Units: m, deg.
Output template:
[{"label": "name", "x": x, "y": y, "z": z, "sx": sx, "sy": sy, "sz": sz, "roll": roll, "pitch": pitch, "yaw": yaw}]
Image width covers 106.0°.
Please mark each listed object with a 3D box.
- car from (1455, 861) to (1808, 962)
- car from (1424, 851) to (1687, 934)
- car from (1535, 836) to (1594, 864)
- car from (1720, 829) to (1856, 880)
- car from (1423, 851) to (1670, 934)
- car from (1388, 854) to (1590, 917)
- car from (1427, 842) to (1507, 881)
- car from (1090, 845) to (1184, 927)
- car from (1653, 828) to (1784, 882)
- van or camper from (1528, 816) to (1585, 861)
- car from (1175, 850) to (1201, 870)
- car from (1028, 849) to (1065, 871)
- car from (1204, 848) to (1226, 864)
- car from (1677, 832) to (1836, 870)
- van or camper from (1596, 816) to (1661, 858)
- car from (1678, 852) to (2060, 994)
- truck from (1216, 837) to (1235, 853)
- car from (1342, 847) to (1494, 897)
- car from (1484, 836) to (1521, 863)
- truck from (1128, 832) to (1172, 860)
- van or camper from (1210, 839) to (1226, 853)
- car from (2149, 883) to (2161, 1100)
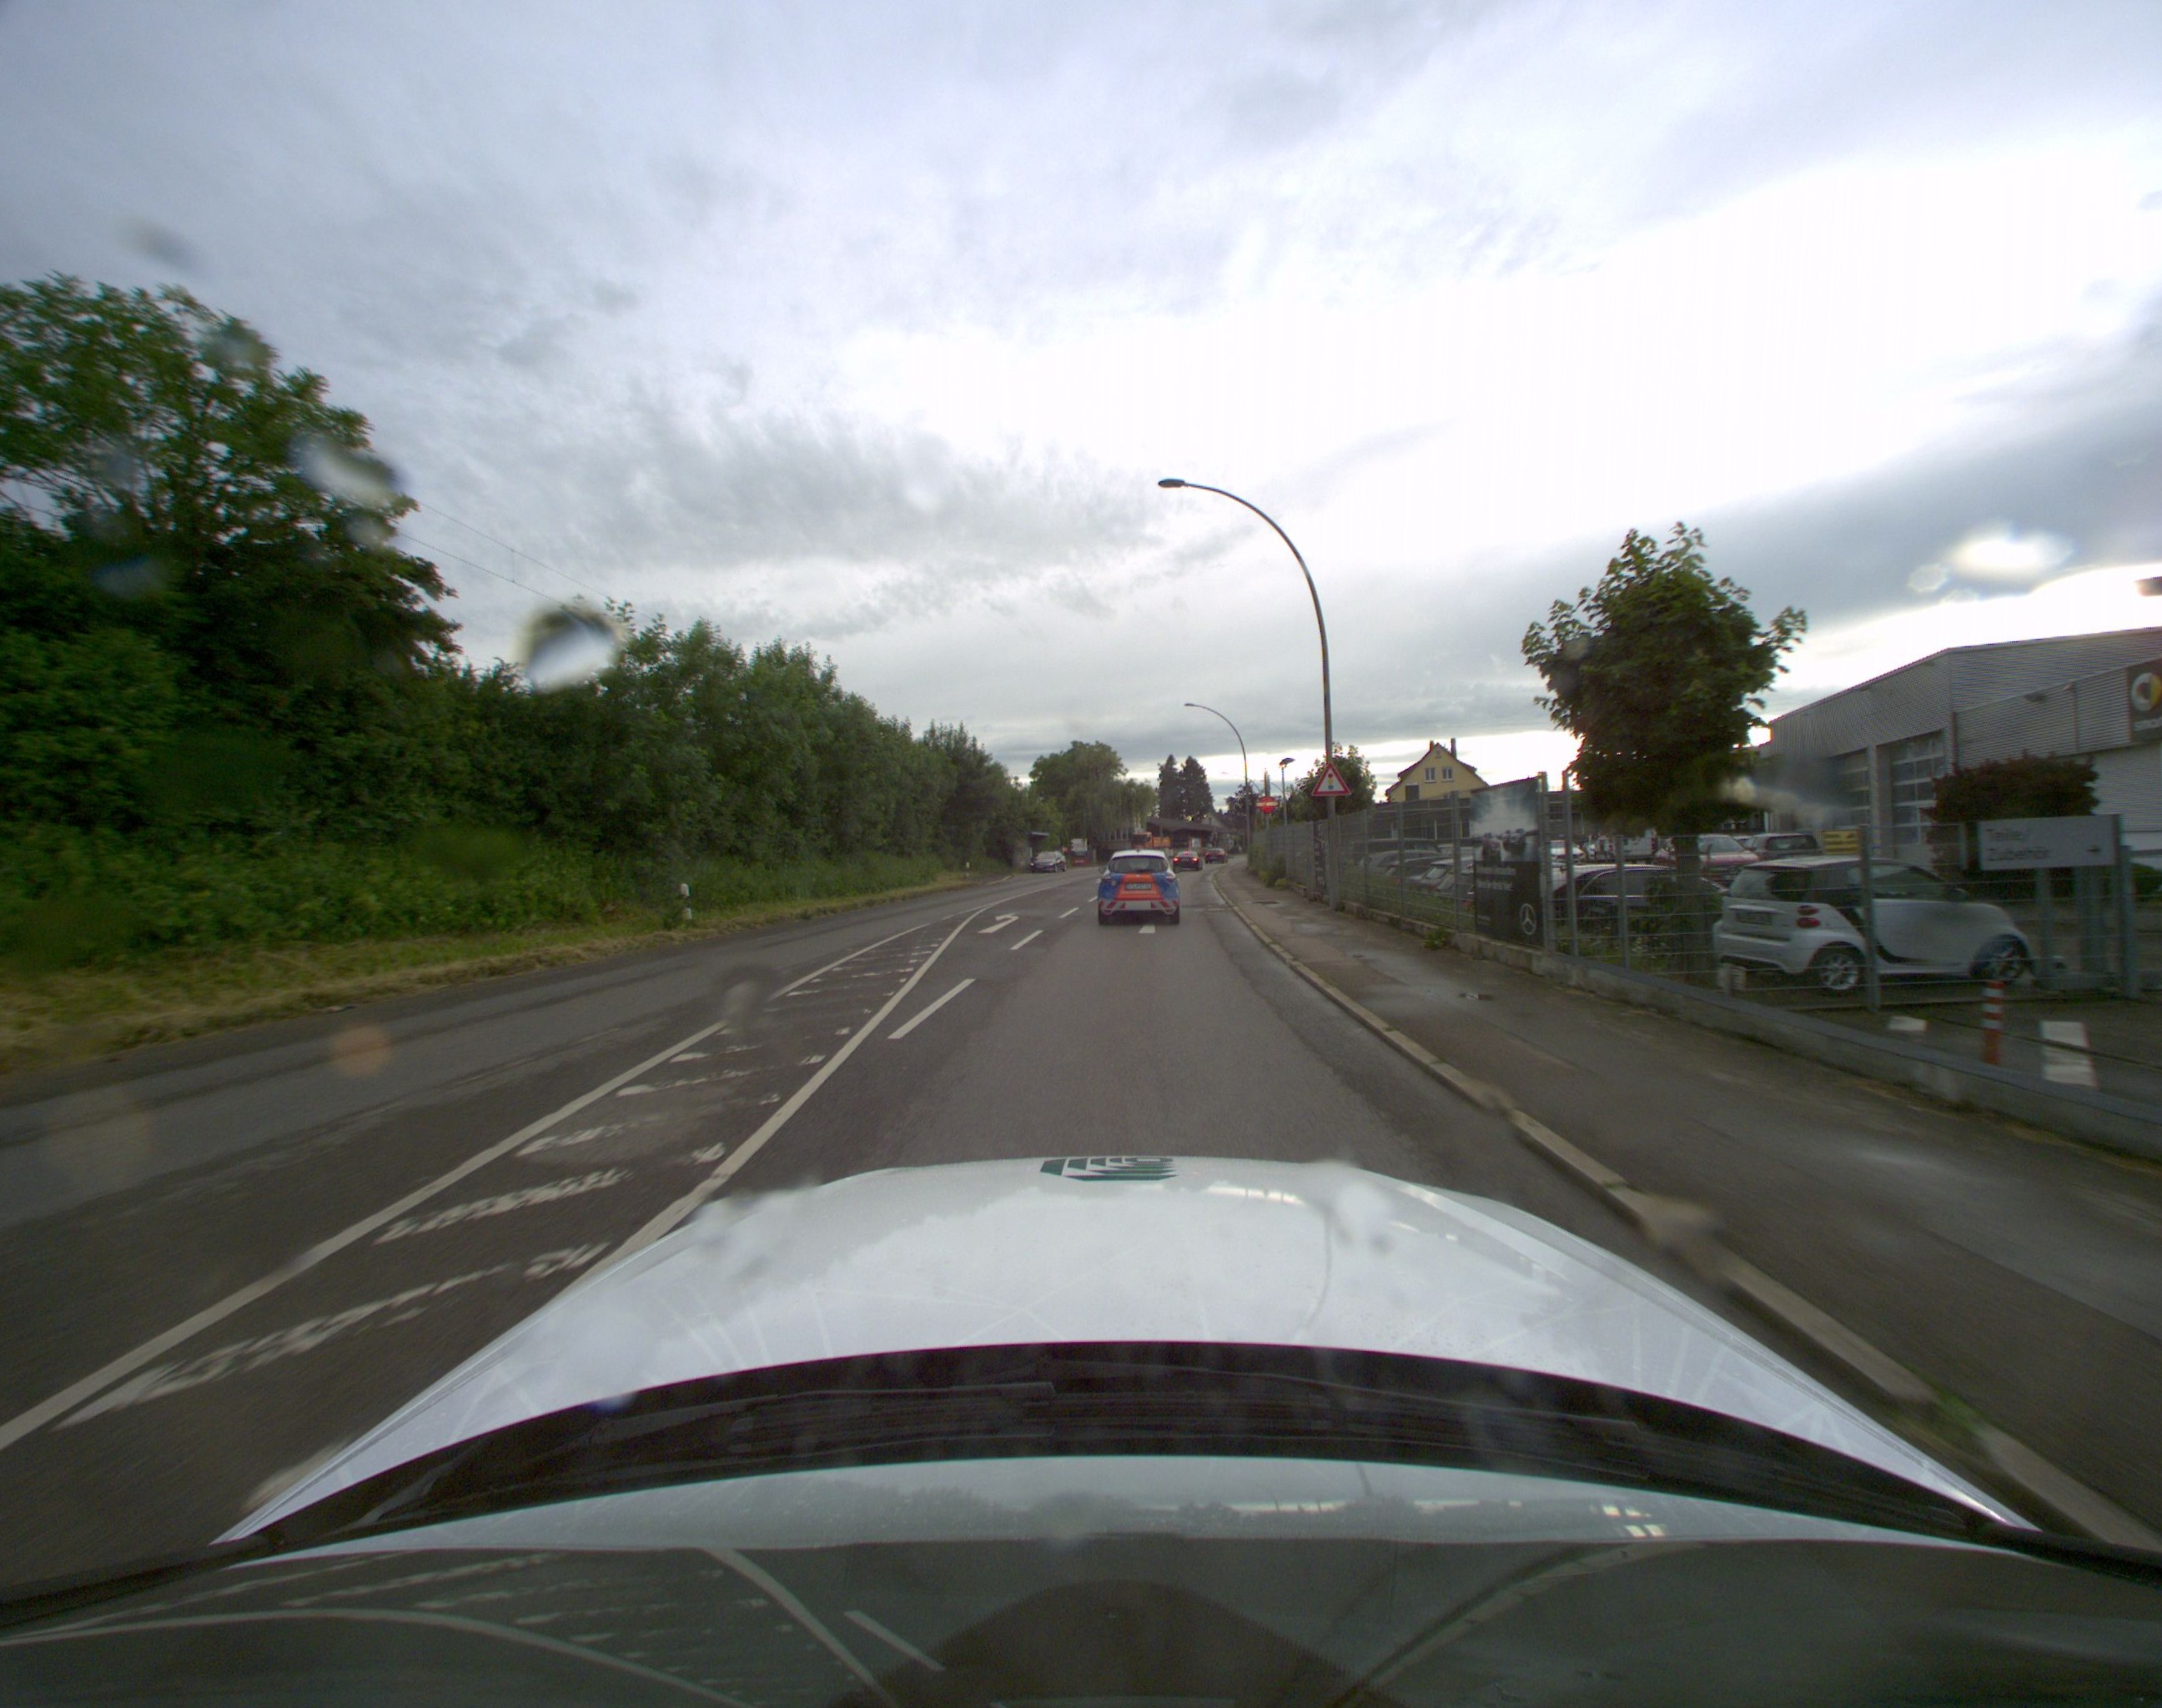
[{"label": "car", "x": 8.241, "y": 0.832, "z": 12.554, "sx": 4.090, "sy": 1.370, "sz": 2.002, "roll": 1, "pitch": -1, "yaw": 3}, {"label": "car", "x": 8.668, "y": 0.684, "z": 15.110, "sx": 3.973, "sy": 1.408, "sz": 1.593, "roll": 1, "pitch": -1, "yaw": 1}, {"label": "car", "x": 26.608, "y": -0.192, "z": 44.991, "sx": 1.875, "sy": 1.420, "sz": 4.486, "roll": 1, "pitch": -1, "yaw": 18}, {"label": "car", "x": 21.185, "y": 0.047, "z": 24.621, "sx": 1.976, "sy": 1.420, "sz": 4.021, "roll": 1, "pitch": -1, "yaw": 23}, {"label": "car", "x": 9.753, "y": 0.782, "z": 17.388, "sx": 4.151, "sy": 1.598, "sz": 1.972, "roll": 1, "pitch": -1, "yaw": 6}, {"label": "car", "x": 9.718, "y": 0.734, "z": 19.695, "sx": 3.965, "sy": 1.404, "sz": 2.004, "roll": 1, "pitch": -1, "yaw": 8}, {"label": "car", "x": 16.083, "y": 0.326, "z": 34.174, "sx": 1.774, "sy": 1.506, "sz": 4.307, "roll": 1, "pitch": -1, "yaw": 7}, {"label": "car", "x": 1.264, "y": 0.628, "z": 18.312, "sx": 1.880, "sy": 1.632, "sz": 4.004, "roll": 0, "pitch": 0, "yaw": 4}, {"label": "car", "x": 18.096, "y": 0.060, "z": 23.344, "sx": 1.976, "sy": 1.420, "sz": 4.021, "roll": 0, "pitch": -1, "yaw": 23}, {"label": "van or camper", "x": 29.625, "y": -0.954, "z": 50.957, "sx": 2.312, "sy": 2.557, "sz": 5.773, "roll": -2, "pitch": 0, "yaw": 23}, {"label": "car", "x": 7.569, "y": 0.438, "z": 57.227, "sx": 1.710, "sy": 1.376, "sz": 3.943, "roll": 1, "pitch": -1, "yaw": 9}, {"label": "car", "x": -2.364, "y": 0.447, "z": 57.283, "sx": 1.984, "sy": 1.474, "sz": 4.707, "roll": 1, "pitch": -1, "yaw": 5}, {"label": "car", "x": 12.768, "y": 0.220, "z": 77.777, "sx": 1.982, "sy": 1.420, "sz": 4.009, "roll": 1, "pitch": -1, "yaw": 9}, {"label": "car", "x": 26.647, "y": -0.108, "z": 32.338, "sx": 4.592, "sy": 1.400, "sz": 1.730, "roll": 0, "pitch": -1, "yaw": 27}, {"label": "van or camper", "x": 28.426, "y": -0.832, "z": 42.456, "sx": 1.975, "sy": 1.938, "sz": 5.461, "roll": 0, "pitch": -1, "yaw": 25}, {"label": "car", "x": 9.551, "y": 0.801, "z": 10.135, "sx": 2.706, "sy": 1.445, "sz": 2.002, "roll": -3, "pitch": -1, "yaw": 4}, {"label": "truck", "x": 27.953, "y": -1.658, "z": 157.166, "sx": 2.373, "sy": 2.927, "sz": 5.989, "roll": 0, "pitch": 0, "yaw": 22}, {"label": "car", "x": 10.038, "y": 0.526, "z": 24.535, "sx": 3.960, "sy": 1.404, "sz": 1.795, "roll": 0, "pitch": -1, "yaw": 12}, {"label": "car", "x": 26.447, "y": -0.289, "z": 51.159, "sx": 1.624, "sy": 1.571, "sz": 3.414, "roll": -2, "pitch": 0, "yaw": 21}, {"label": "truck", "x": 9.147, "y": -0.996, "z": 106.223, "sx": 2.673, "sy": 3.412, "sz": 9.123, "roll": 0, "pitch": -1, "yaw": 25}, {"label": "van or camper", "x": 25.557, "y": -1.448, "z": 151.928, "sx": 1.843, "sy": 2.437, "sz": 5.260, "roll": 1, "pitch": -1, "yaw": 21}, {"label": "car", "x": 8.546, "y": 0.886, "z": 3.680, "sx": 4.112, "sy": 1.441, "sz": 1.822, "roll": -1, "pitch": 0, "yaw": 29}]
